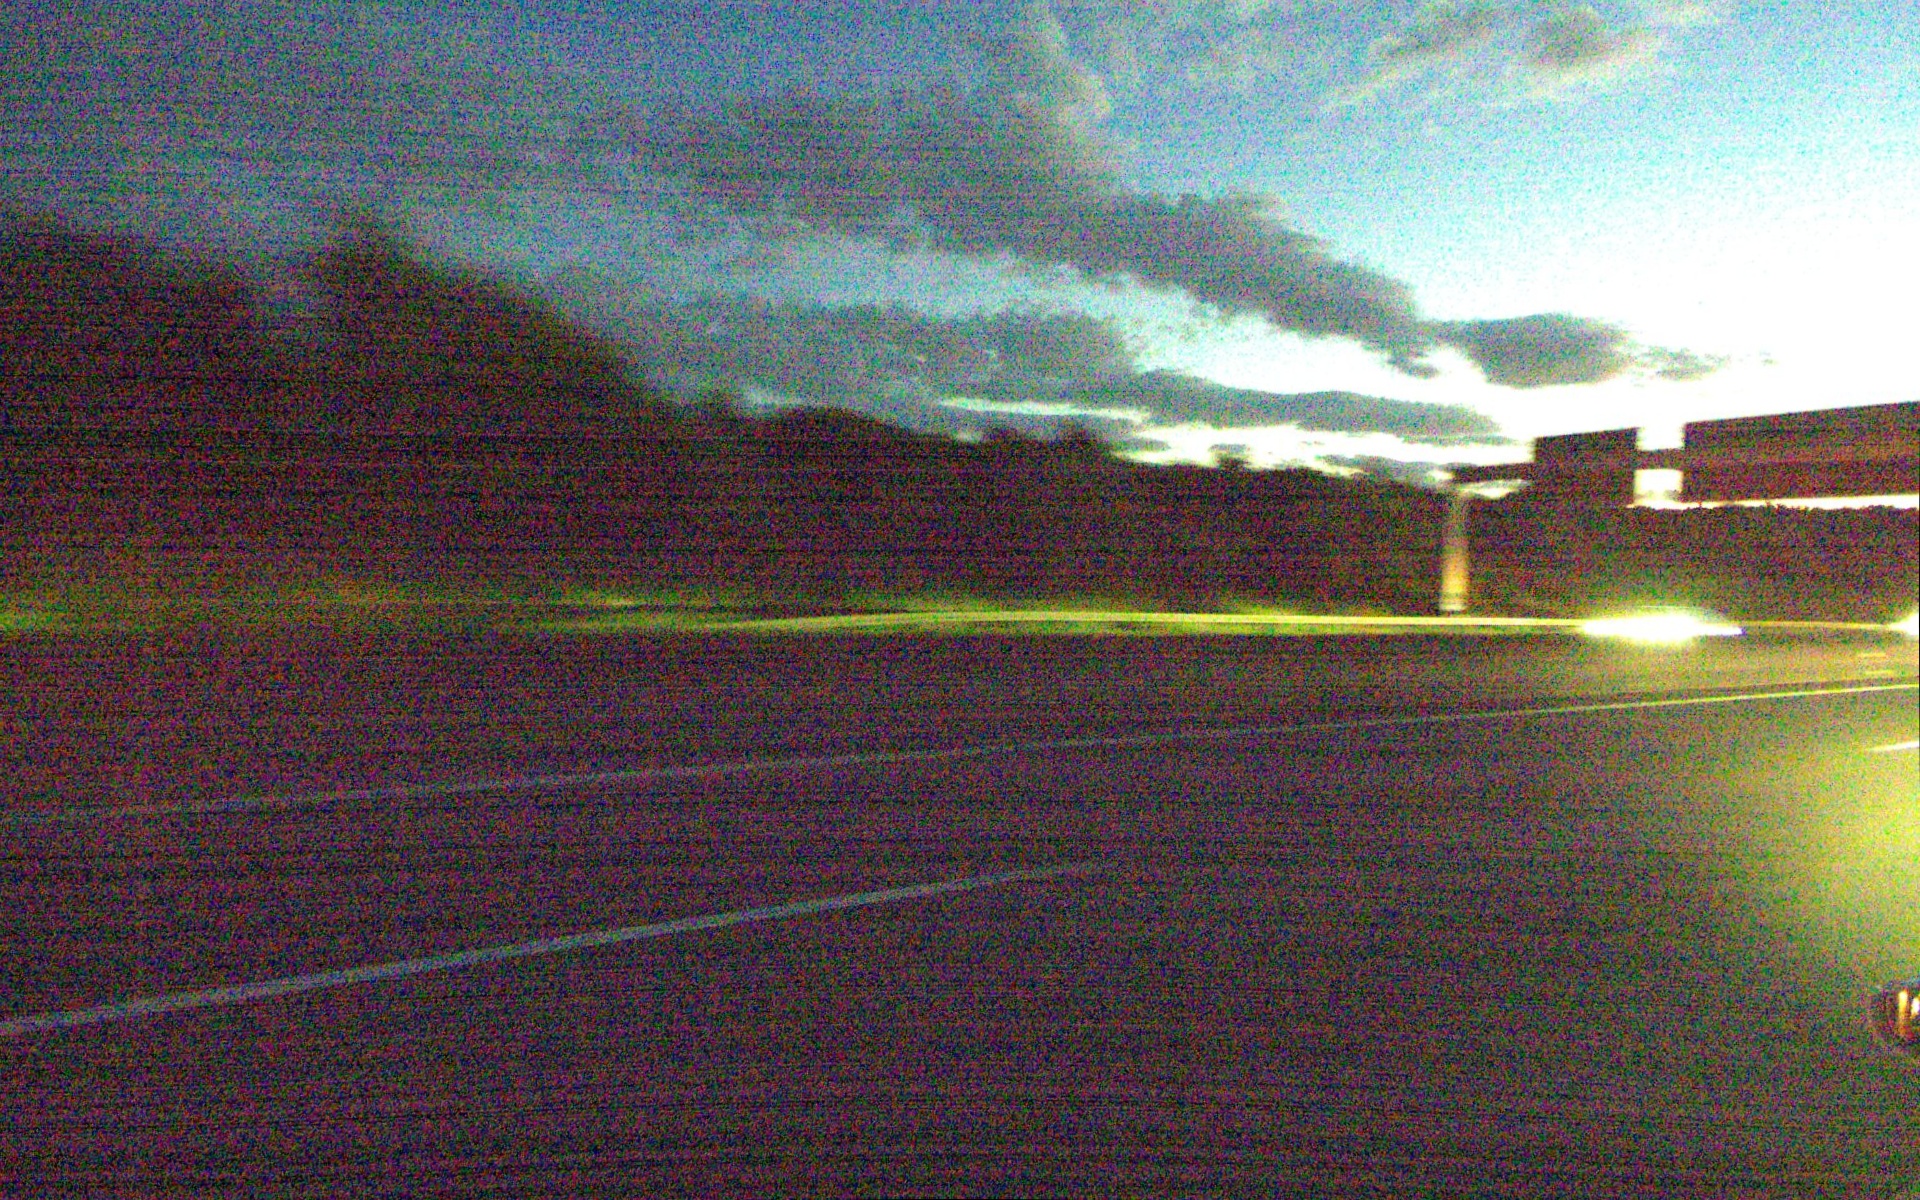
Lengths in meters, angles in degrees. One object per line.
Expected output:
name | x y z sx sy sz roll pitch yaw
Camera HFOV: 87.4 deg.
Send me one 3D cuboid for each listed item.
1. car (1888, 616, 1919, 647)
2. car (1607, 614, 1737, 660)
car | 50.565 1.623 52.239 5.125 1.529 1.984 1 0 -31
car | 25.729 1.306 36.252 5.144 1.529 1.983 1 0 -32
